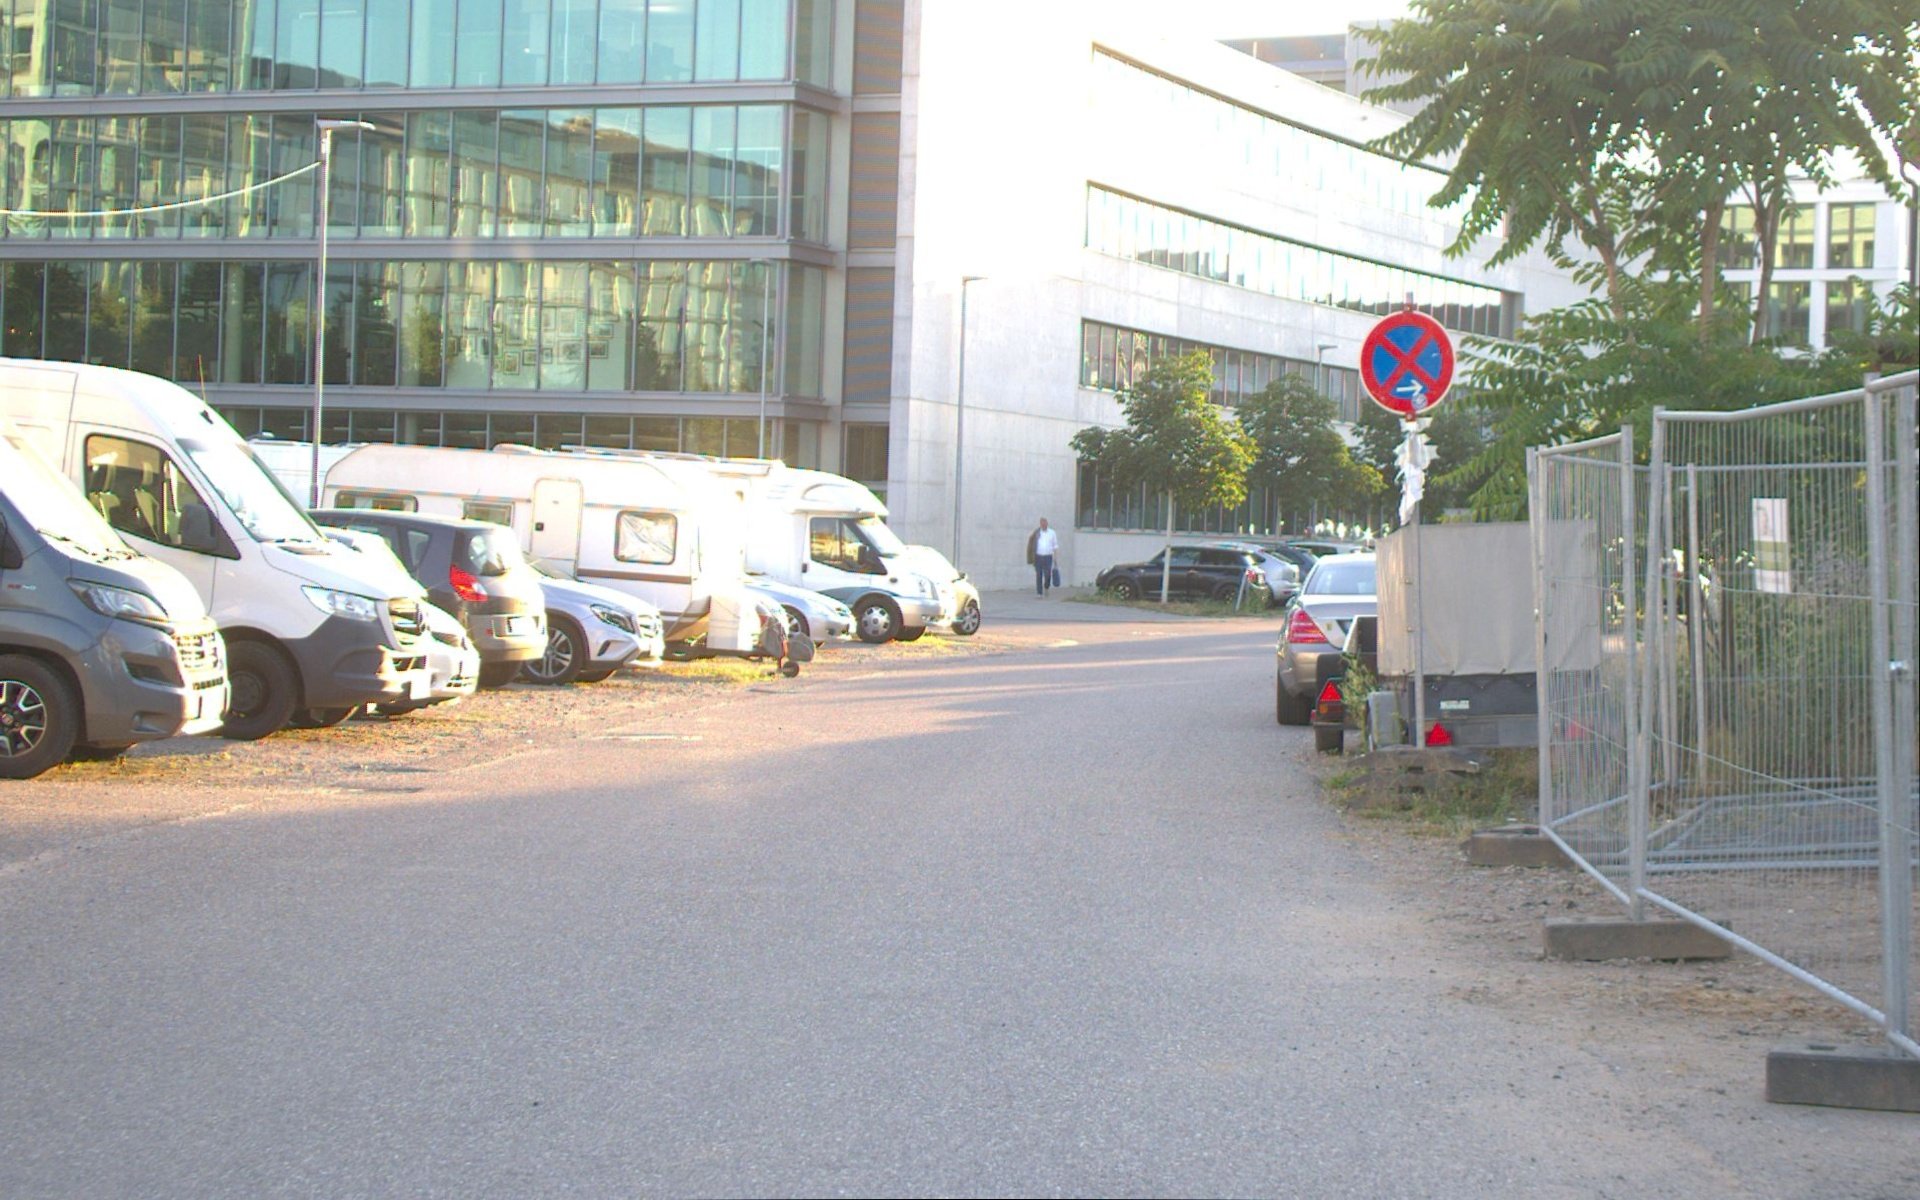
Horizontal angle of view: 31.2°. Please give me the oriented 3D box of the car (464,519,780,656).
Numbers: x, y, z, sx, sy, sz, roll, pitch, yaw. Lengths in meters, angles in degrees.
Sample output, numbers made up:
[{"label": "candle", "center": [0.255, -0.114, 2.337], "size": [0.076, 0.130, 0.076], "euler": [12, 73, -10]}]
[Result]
[{"label": "car", "center": [-4.261, -0.172, 43.653], "size": [3.629, 1.514, 1.705], "euler": [3, 1, 8]}]

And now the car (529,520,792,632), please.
[{"label": "car", "center": [-4.477, -0.373, 51.694], "size": [3.605, 1.471, 1.692], "euler": [3, 1, 7]}]

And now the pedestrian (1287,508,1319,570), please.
[{"label": "pedestrian", "center": [9.945, -1.768, 99.772], "size": [0.646, 1.778, 0.724], "euler": [3, 1, 23]}]

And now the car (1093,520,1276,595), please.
[{"label": "car", "center": [5.032, -0.966, 76.979], "size": [3.737, 1.477, 1.768], "euler": [3, 2, 17]}]

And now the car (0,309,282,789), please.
[{"label": "car", "center": [-7.602, -0.467, 20.920], "size": [6.387, 2.704, 2.113], "euler": [4, 0, -1]}]

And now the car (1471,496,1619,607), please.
[{"label": "car", "center": [11.593, -0.968, 67.877], "size": [2.067, 2.087, 4.867], "euler": [1, 1, 19]}]

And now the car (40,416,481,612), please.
[{"label": "car", "center": [-10.763, -1.331, 52.924], "size": [6.247, 2.664, 2.221], "euler": [3, 1, 17]}]

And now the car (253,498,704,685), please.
[{"label": "car", "center": [-4.900, -0.111, 35.120], "size": [4.129, 1.585, 1.747], "euler": [4, 2, 15]}]

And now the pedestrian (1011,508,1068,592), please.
[{"label": "pedestrian", "center": [1.765, -1.116, 76.401], "size": [0.899, 1.844, 0.856], "euler": [0, 2, -36]}]

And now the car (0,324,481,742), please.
[{"label": "car", "center": [-6.643, -0.590, 24.949], "size": [5.826, 2.703, 2.050], "euler": [4, 2, 5]}]

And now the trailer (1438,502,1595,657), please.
[{"label": "trailer", "center": [8.472, -0.344, 52.024], "size": [2.065, 2.204, 5.220], "euler": [1, 1, 12]}]

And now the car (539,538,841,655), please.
[{"label": "car", "center": [-3.628, -0.064, 46.526], "size": [3.727, 1.362, 1.705], "euler": [3, 1, 8]}]

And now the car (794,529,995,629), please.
[{"label": "car", "center": [-1.038, -0.328, 57.140], "size": [1.688, 1.514, 4.356], "euler": [3, 1, 22]}]

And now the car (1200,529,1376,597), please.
[{"label": "car", "center": [8.251, -0.936, 86.521], "size": [3.992, 1.506, 1.758], "euler": [3, 2, 23]}]

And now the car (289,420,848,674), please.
[{"label": "car", "center": [-4.535, -0.615, 40.191], "size": [5.891, 2.525, 2.410], "euler": [4, 0, 13]}]

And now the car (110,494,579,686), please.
[{"label": "car", "center": [-5.776, -0.119, 32.374], "size": [3.928, 1.585, 1.747], "euler": [3, 1, 15]}]

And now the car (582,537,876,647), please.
[{"label": "car", "center": [-3.243, -0.126, 48.613], "size": [3.809, 1.324, 1.692], "euler": [3, 1, 10]}]

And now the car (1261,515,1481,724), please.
[{"label": "car", "center": [3.739, 0.125, 30.908], "size": [1.806, 1.719, 4.927], "euler": [0, 1, 8]}]

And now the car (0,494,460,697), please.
[{"label": "car", "center": [-6.591, -0.044, 30.347], "size": [3.926, 1.585, 1.747], "euler": [3, 0, 7]}]

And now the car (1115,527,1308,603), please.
[{"label": "car", "center": [5.836, -0.830, 79.673], "size": [4.089, 1.523, 1.845], "euler": [3, 2, 17]}]

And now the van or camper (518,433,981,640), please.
[{"label": "van or camper", "center": [-3.273, -1.016, 53.983], "size": [6.744, 2.887, 2.407], "euler": [3, 1, 12]}]

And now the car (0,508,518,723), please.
[{"label": "car", "center": [-5.697, 0.099, 27.466], "size": [3.926, 1.502, 1.789], "euler": [3, 1, 7]}]

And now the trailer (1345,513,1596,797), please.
[{"label": "trailer", "center": [3.136, 0.298, 21.471], "size": [1.250, 1.659, 2.803], "euler": [0, 1, 2]}]

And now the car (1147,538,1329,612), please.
[{"label": "car", "center": [6.606, -0.610, 81.650], "size": [4.001, 1.507, 1.584], "euler": [3, 3, 17]}]

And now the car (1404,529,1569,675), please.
[{"label": "car", "center": [7.101, -0.021, 46.090], "size": [1.772, 1.825, 4.405], "euler": [1, 2, 14]}]

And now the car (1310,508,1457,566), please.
[{"label": "car", "center": [11.830, -1.764, 96.017], "size": [3.707, 1.452, 1.709], "euler": [3, 1, 24]}]

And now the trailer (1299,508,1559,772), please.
[{"label": "trailer", "center": [3.480, 0.230, 25.585], "size": [1.731, 1.771, 4.936], "euler": [0, 1, 8]}]
